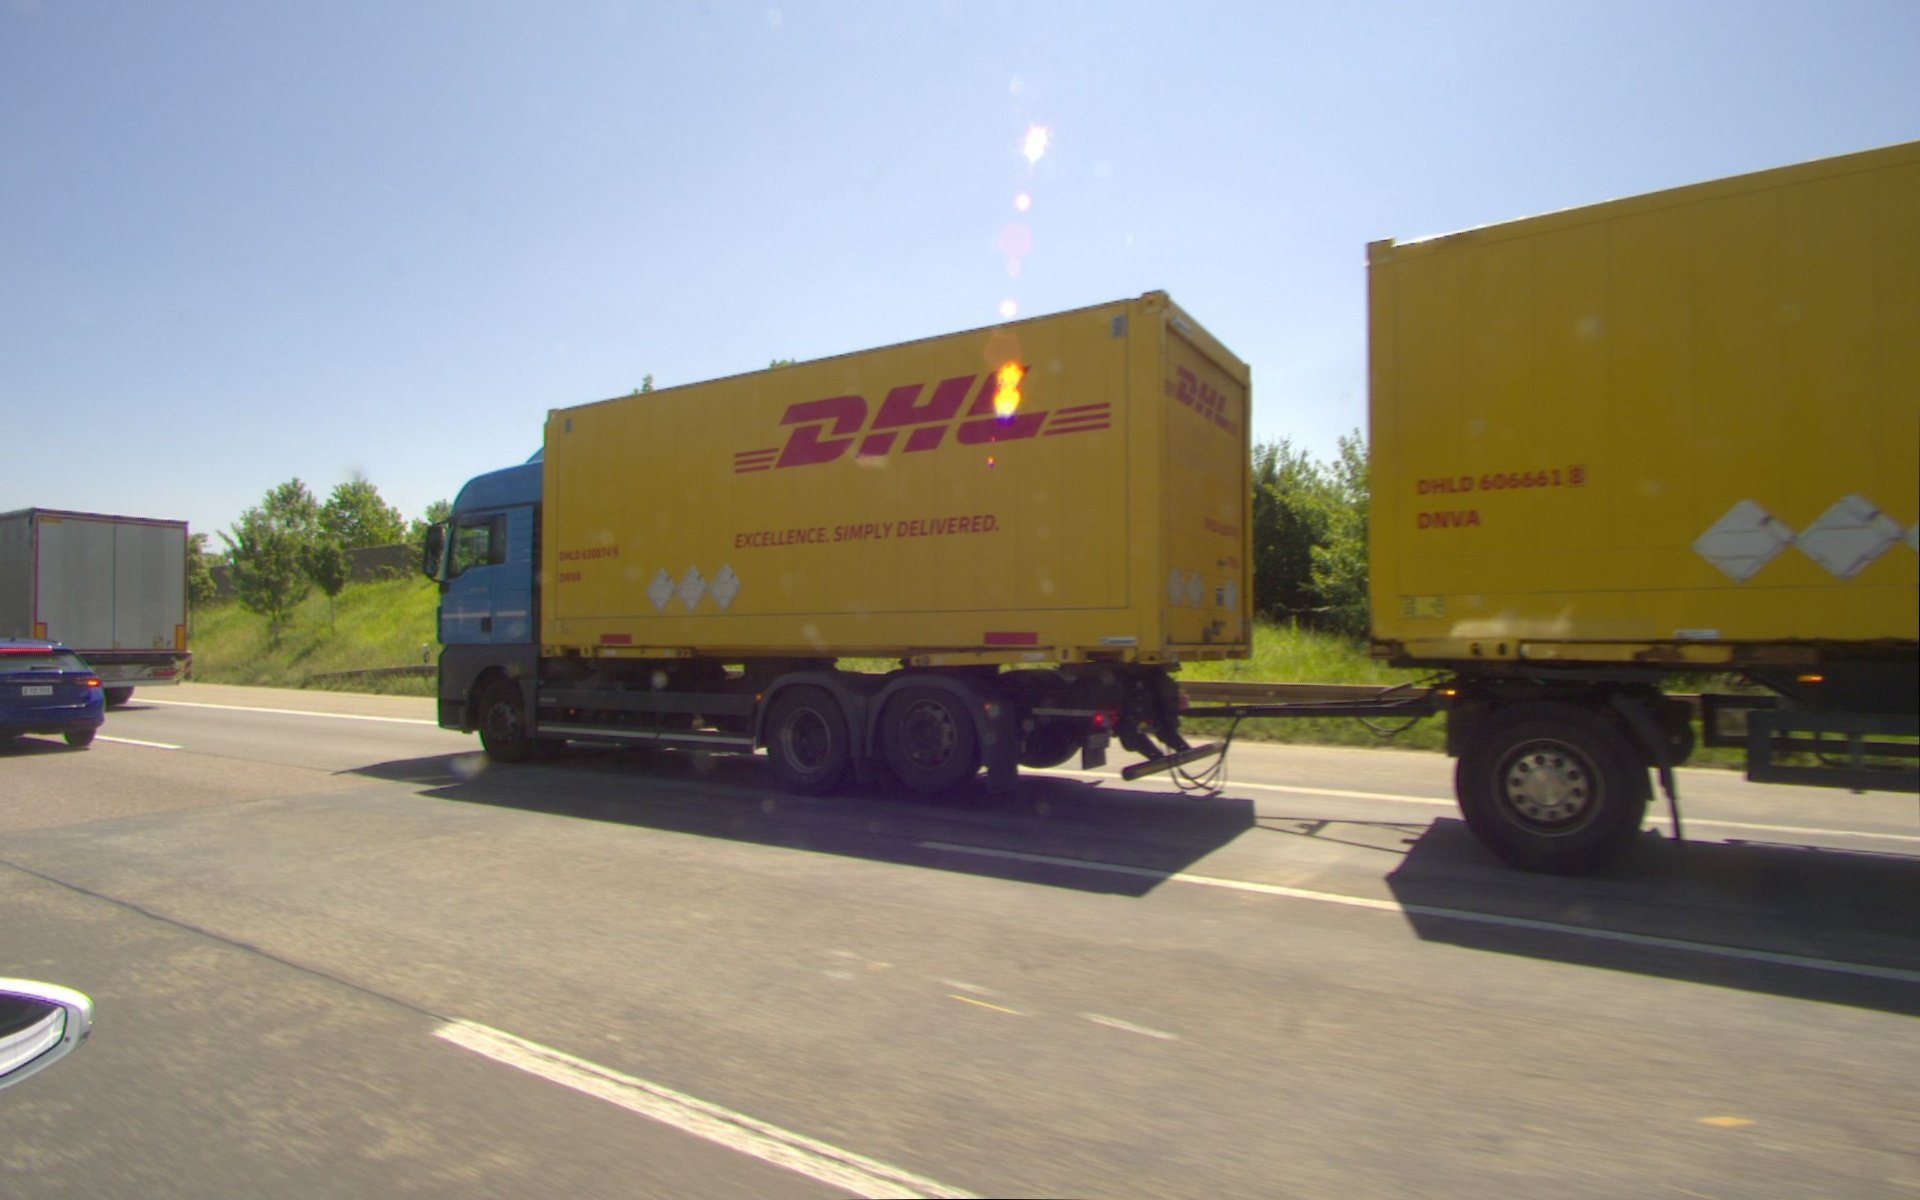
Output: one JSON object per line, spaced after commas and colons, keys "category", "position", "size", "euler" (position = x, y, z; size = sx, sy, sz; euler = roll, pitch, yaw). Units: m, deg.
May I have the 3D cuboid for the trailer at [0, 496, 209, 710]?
{"category": "trailer", "position": [-22.840, 0.210, 24.111], "size": [13.555, 4.101, 2.957], "euler": [-1, -2, 32]}

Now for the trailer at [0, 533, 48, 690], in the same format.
{"category": "trailer", "position": [-27.999, 0.326, 27.382], "size": [6.318, 4.096, 2.920], "euler": [-1, -1, 32]}

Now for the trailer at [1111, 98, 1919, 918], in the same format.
{"category": "trailer", "position": [5.750, -0.428, 6.157], "size": [9.243, 4.169, 2.761], "euler": [-1, -2, 32]}

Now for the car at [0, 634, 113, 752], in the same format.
{"category": "car", "position": [-13.573, 1.219, 13.775], "size": [4.365, 1.459, 1.703], "euler": [-2, -3, 32]}

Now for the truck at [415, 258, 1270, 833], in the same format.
{"category": "truck", "position": [-1.900, -0.261, 11.036], "size": [9.811, 4.161, 2.761], "euler": [-1, -2, 32]}
